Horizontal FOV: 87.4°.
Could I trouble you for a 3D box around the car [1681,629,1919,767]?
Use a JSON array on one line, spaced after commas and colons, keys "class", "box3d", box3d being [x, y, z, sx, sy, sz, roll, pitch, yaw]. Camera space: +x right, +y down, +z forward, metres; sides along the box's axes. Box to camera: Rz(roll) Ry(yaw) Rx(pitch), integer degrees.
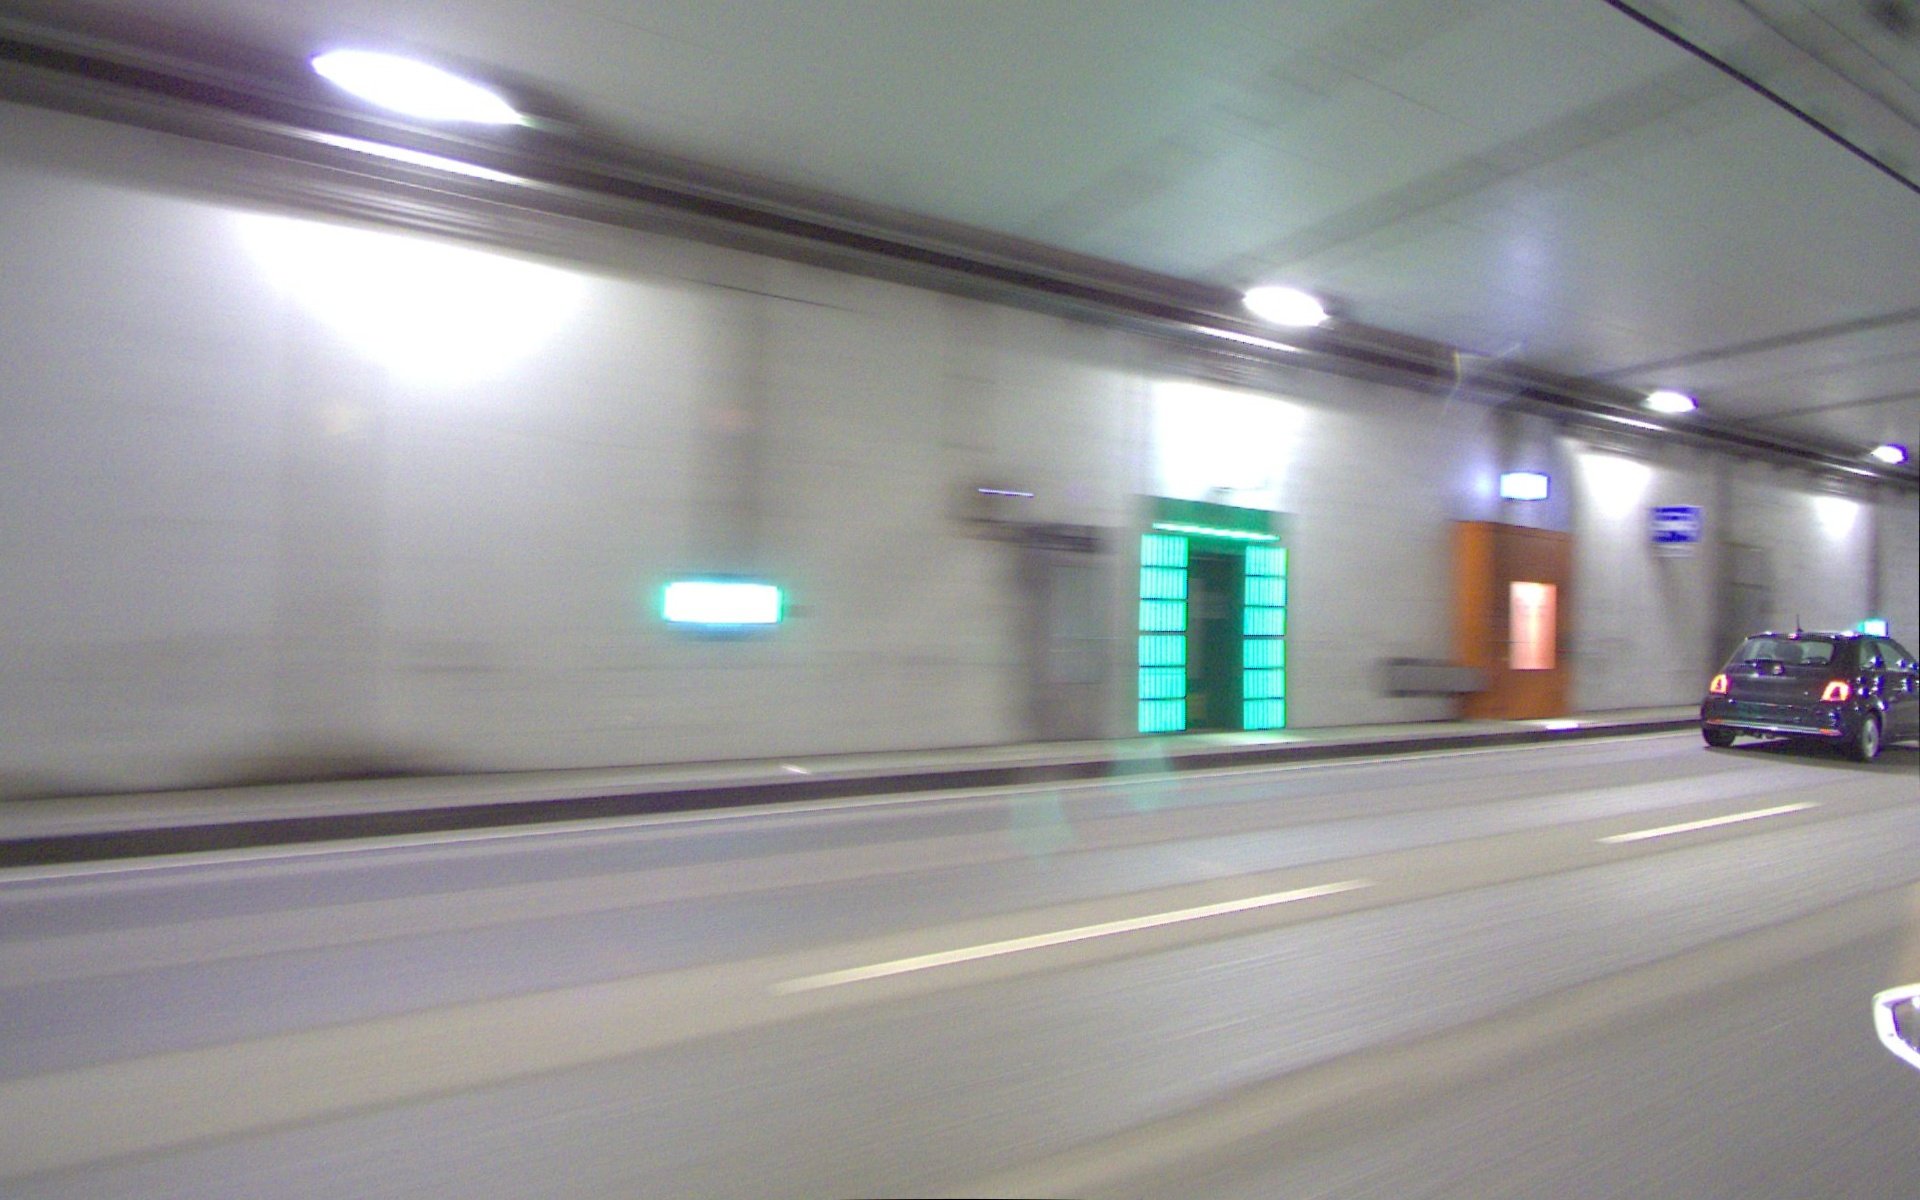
[{"class": "car", "box3d": [10.812, 1.140, 12.555, 3.530, 1.473, 1.605, 2, -1, -30]}]
